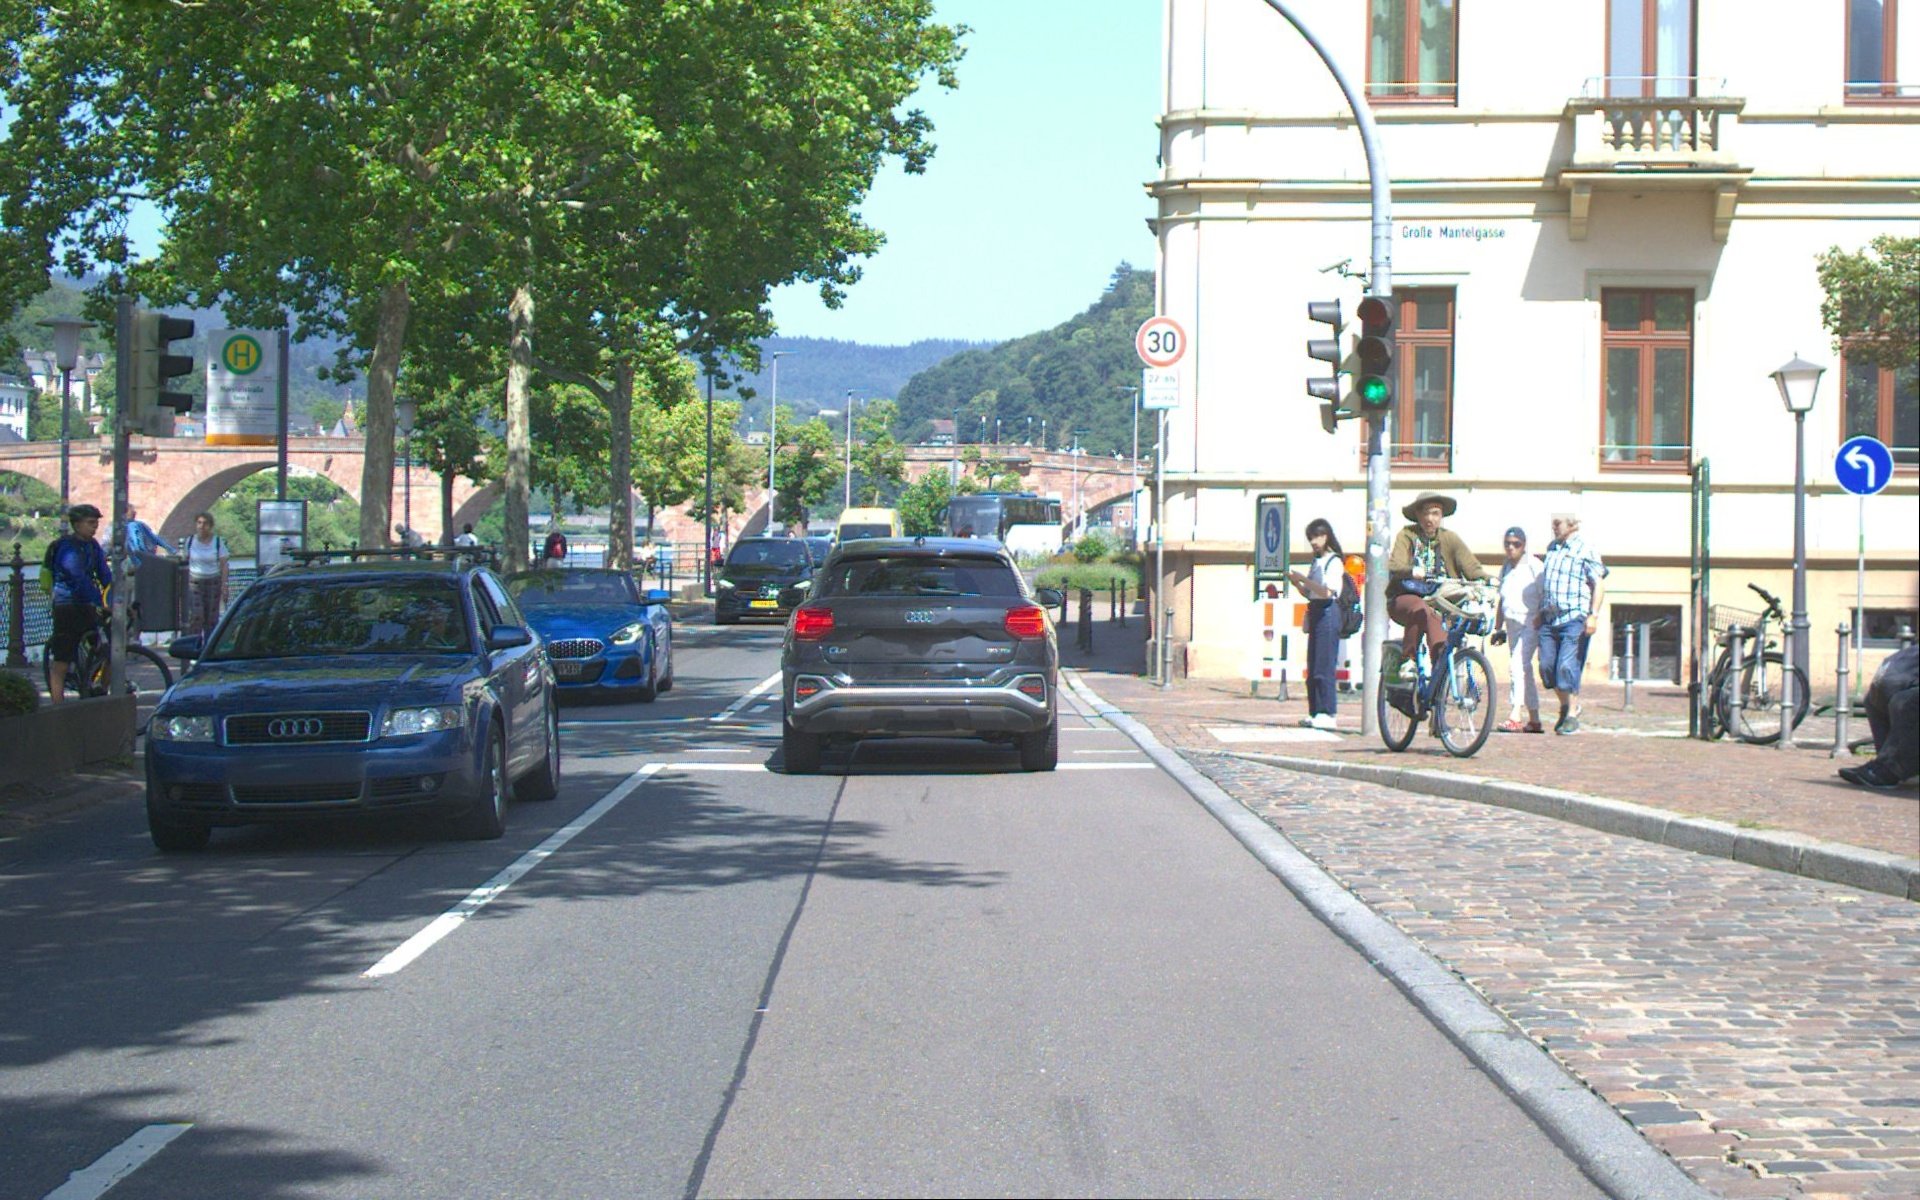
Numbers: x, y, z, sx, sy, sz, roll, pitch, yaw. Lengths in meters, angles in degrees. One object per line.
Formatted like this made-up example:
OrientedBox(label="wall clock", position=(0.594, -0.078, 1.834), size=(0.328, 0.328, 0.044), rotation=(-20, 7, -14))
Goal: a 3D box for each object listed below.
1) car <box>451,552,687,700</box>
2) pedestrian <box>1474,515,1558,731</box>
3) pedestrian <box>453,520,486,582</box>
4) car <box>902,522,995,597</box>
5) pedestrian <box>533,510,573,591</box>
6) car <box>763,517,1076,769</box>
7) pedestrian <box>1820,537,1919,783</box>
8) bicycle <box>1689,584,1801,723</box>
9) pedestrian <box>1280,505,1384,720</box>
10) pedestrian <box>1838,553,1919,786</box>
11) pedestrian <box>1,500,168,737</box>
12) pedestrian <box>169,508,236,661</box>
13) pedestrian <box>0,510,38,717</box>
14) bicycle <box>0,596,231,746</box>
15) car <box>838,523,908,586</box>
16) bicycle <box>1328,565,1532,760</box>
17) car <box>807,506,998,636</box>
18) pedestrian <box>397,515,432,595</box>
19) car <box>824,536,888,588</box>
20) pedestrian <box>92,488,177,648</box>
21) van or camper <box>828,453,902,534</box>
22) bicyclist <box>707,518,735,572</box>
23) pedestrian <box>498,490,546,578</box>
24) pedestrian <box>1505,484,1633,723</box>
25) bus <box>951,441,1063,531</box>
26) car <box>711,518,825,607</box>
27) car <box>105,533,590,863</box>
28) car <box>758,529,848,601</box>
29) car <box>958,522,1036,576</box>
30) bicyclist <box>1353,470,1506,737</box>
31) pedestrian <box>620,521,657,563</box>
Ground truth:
OrientedBox(label="car", position=(-3.741, 0.204, 33.533), size=(1.840, 1.265, 4.262), rotation=(-2, 1, -1))
OrientedBox(label="pedestrian", position=(4.460, 0.174, 27.616), size=(0.526, 1.706, 0.665), rotation=(1, 1, -1))
OrientedBox(label="pedestrian", position=(-12.737, -1.270, 89.294), size=(0.694, 1.610, 0.663), rotation=(1, 1, 8))
OrientedBox(label="car", position=(-0.244, -0.886, 73.622), size=(1.926, 1.548, 4.832), rotation=(0, 1, 0))
OrientedBox(label="pedestrian", position=(-8.600, -1.047, 72.668), size=(0.656, 1.676, 0.758), rotation=(4, 1, -1))
OrientedBox(label="car", position=(-0.271, 0.213, 23.656), size=(1.926, 1.548, 4.832), rotation=(0, 1, 0))
OrientedBox(label="pedestrian", position=(5.392, 0.322, 18.631), size=(1.247, 1.303, 0.694), rotation=(1, 1, -2))
OrientedBox(label="bicycle", position=(5.928, 0.417, 26.030), size=(0.508, 1.000, 1.580), rotation=(2, -2, 2))
OrientedBox(label="pedestrian", position=(2.948, 0.093, 27.310), size=(0.715, 1.670, 0.682), rotation=(1, 1, -1))
OrientedBox(label="pedestrian", position=(5.524, 0.388, 19.313), size=(0.960, 1.277, 0.694), rotation=(1, 1, -2))
OrientedBox(label="pedestrian", position=(-6.711, 0.129, 26.349), size=(1.024, 1.767, 0.767), rotation=(2, 1, 40))
OrientedBox(label="pedestrian", position=(-8.115, -0.176, 36.855), size=(0.493, 1.612, 0.991), rotation=(1, 1, -1))
OrientedBox(label="pedestrian", position=(-8.254, 0.097, 28.784), size=(0.835, 1.708, 0.782), rotation=(1, 1, -1))
OrientedBox(label="bicycle", position=(-6.446, 0.531, 26.156), size=(1.829, 0.922, 0.741), rotation=(8, 4, 40))
OrientedBox(label="car", position=(-2.245, -1.202, 88.680), size=(1.701, 1.440, 4.092), rotation=(2, 2, -2))
OrientedBox(label="bicycle", position=(2.903, 0.365, 21.441), size=(0.688, 1.125, 2.010), rotation=(1, 1, -9))
OrientedBox(label="car", position=(-0.639, -0.393, 42.115), size=(1.927, 1.456, 4.831), rotation=(1, 1, 4))
OrientedBox(label="pedestrian", position=(-13.442, -1.115, 84.764), size=(0.693, 1.938, 0.887), rotation=(1, 1, -1))
OrientedBox(label="car", position=(-2.960, -1.114, 98.718), size=(1.701, 1.453, 4.002), rotation=(1, 1, 0))
OrientedBox(label="pedestrian", position=(-9.254, -0.364, 38.572), size=(0.711, 1.758, 0.972), rotation=(1, 1, -1))
OrientedBox(label="van or camper", position=(-3.103, -3.479, 113.694), size=(2.087, 2.548, 7.092), rotation=(2, 1, 1))
OrientedBox(label="bicyclist", position=(-7.154, -1.646, 102.928), size=(0.719, 1.578, 1.089), rotation=(1, 1, 2))
OrientedBox(label="pedestrian", position=(-8.034, -1.211, 63.075), size=(0.761, 1.581, 0.696), rotation=(1, 1, -1))
OrientedBox(label="pedestrian", position=(4.784, 0.022, 27.021), size=(0.616, 1.845, 0.730), rotation=(0, 1, -37))
OrientedBox(label="bus", position=(2.157, -4.898, 150.671), size=(2.632, 3.552, 12.977), rotation=(1, 0, 11))
OrientedBox(label="car", position=(-3.433, -0.698, 62.116), size=(1.701, 1.513, 4.405), rotation=(-1, 1, 1))
OrientedBox(label="car", position=(-3.165, 0.432, 18.638), size=(1.701, 1.513, 4.405), rotation=(-2, 1, 1))
OrientedBox(label="car", position=(-3.490, -0.793, 75.722), size=(1.735, 1.513, 4.406), rotation=(0, 1, -6))
OrientedBox(label="car", position=(1.107, -1.514, 100.518), size=(1.927, 1.548, 4.831), rotation=(0, 1, 5))
OrientedBox(label="bicyclist", position=(2.924, 0.017, 21.457), size=(0.709, 1.622, 0.887), rotation=(1, 1, -7))
OrientedBox(label="pedestrian", position=(-9.960, -1.797, 106.487), size=(0.937, 1.276, 0.849), rotation=(1, 1, 9))
